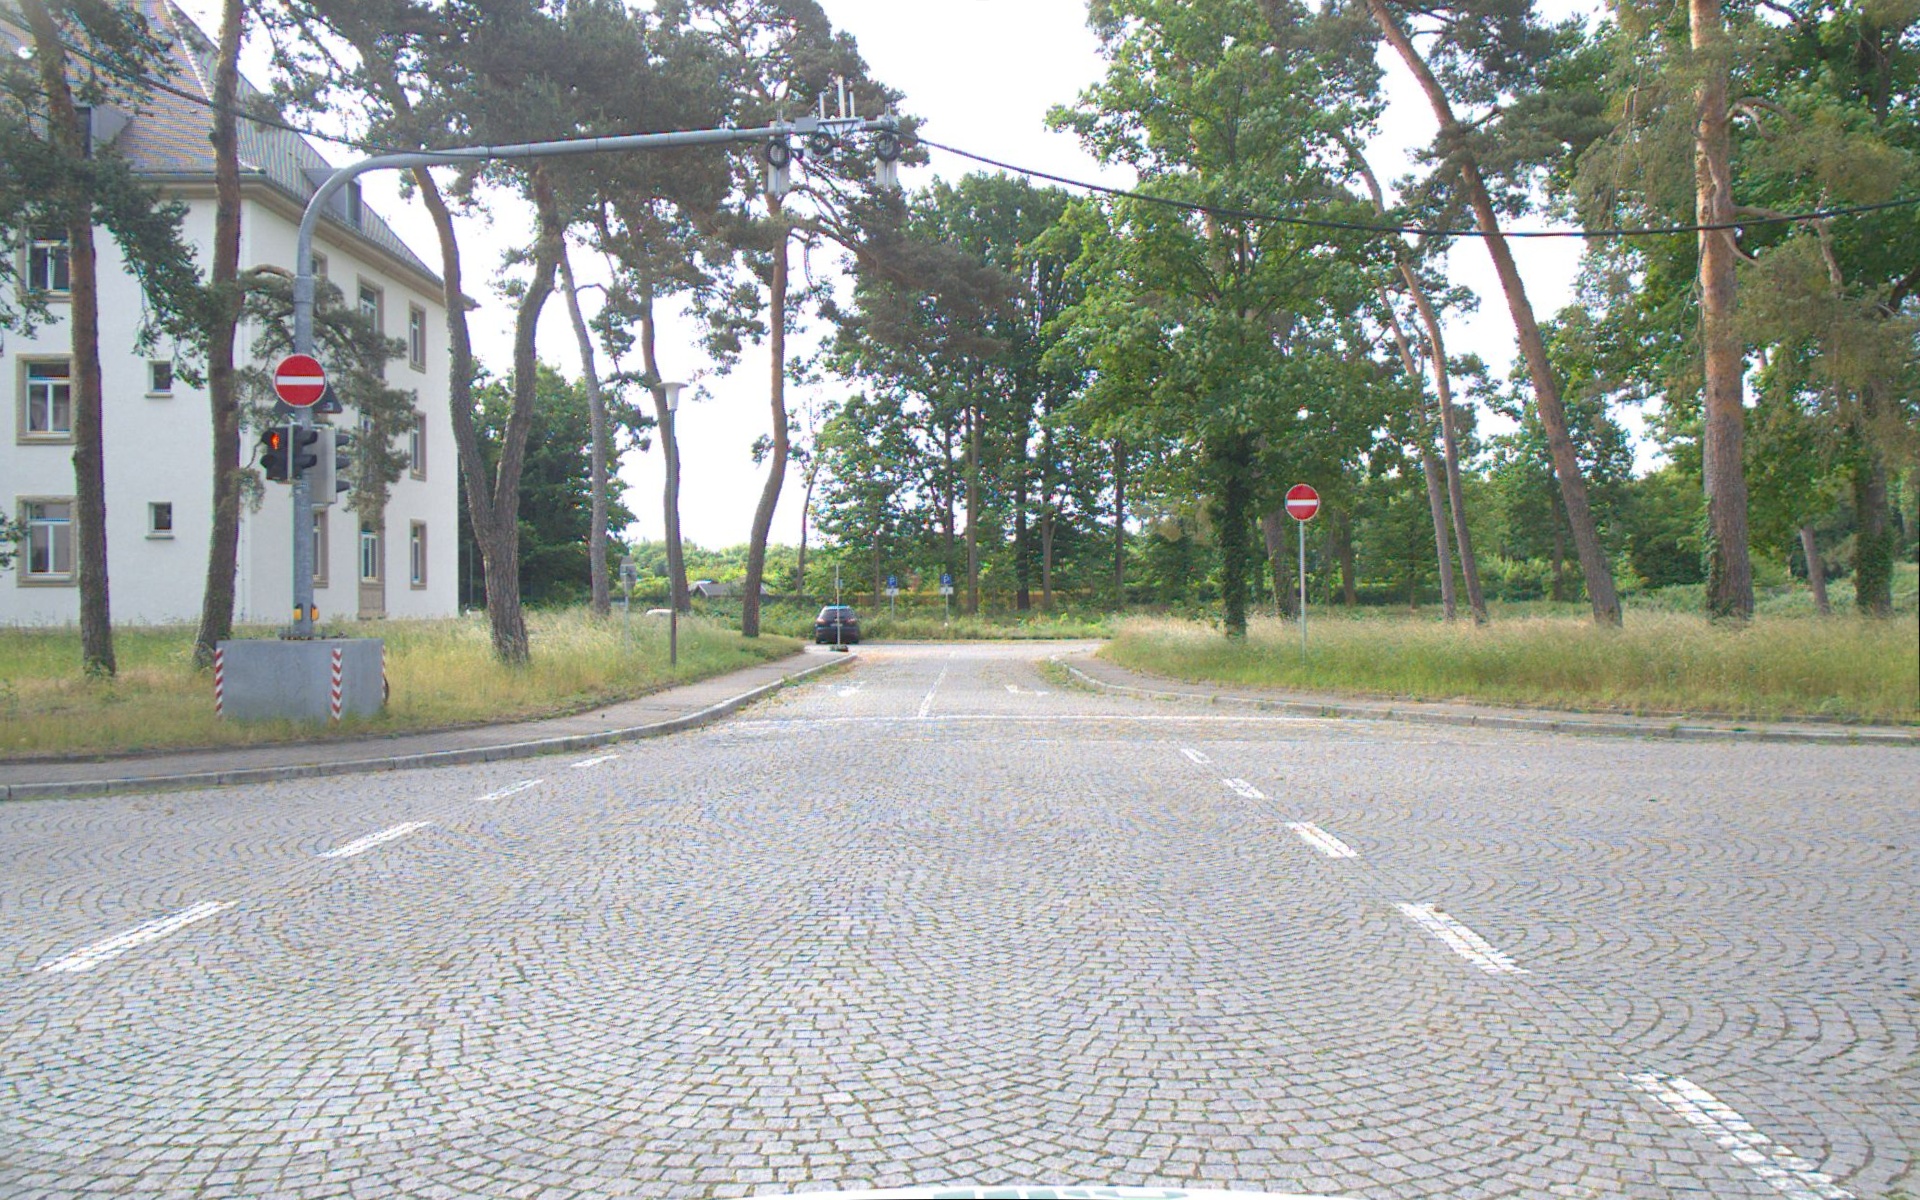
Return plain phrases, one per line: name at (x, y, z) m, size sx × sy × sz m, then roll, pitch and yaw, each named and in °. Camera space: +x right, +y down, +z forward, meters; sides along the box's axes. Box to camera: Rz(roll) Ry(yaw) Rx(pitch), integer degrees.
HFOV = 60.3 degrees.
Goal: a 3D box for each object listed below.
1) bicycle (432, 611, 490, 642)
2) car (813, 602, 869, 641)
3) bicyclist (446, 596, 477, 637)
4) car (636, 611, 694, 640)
bicycle at (-18.879, 0.997, 62.608) m, size 1.947 × 1.114 × 0.810 m, roll -1°, pitch 0°, yaw -4°
car at (-4.987, 0.879, 69.681) m, size 1.952 × 1.534 × 4.001 m, roll 1°, pitch 0°, yaw 1°
bicyclist at (-18.871, 0.622, 62.618) m, size 0.955 × 1.537 × 0.807 m, roll -1°, pitch 0°, yaw -3°
car at (-12.605, 1.064, 70.897) m, size 1.654 × 1.176 × 4.001 m, roll -1°, pitch 0°, yaw 1°
